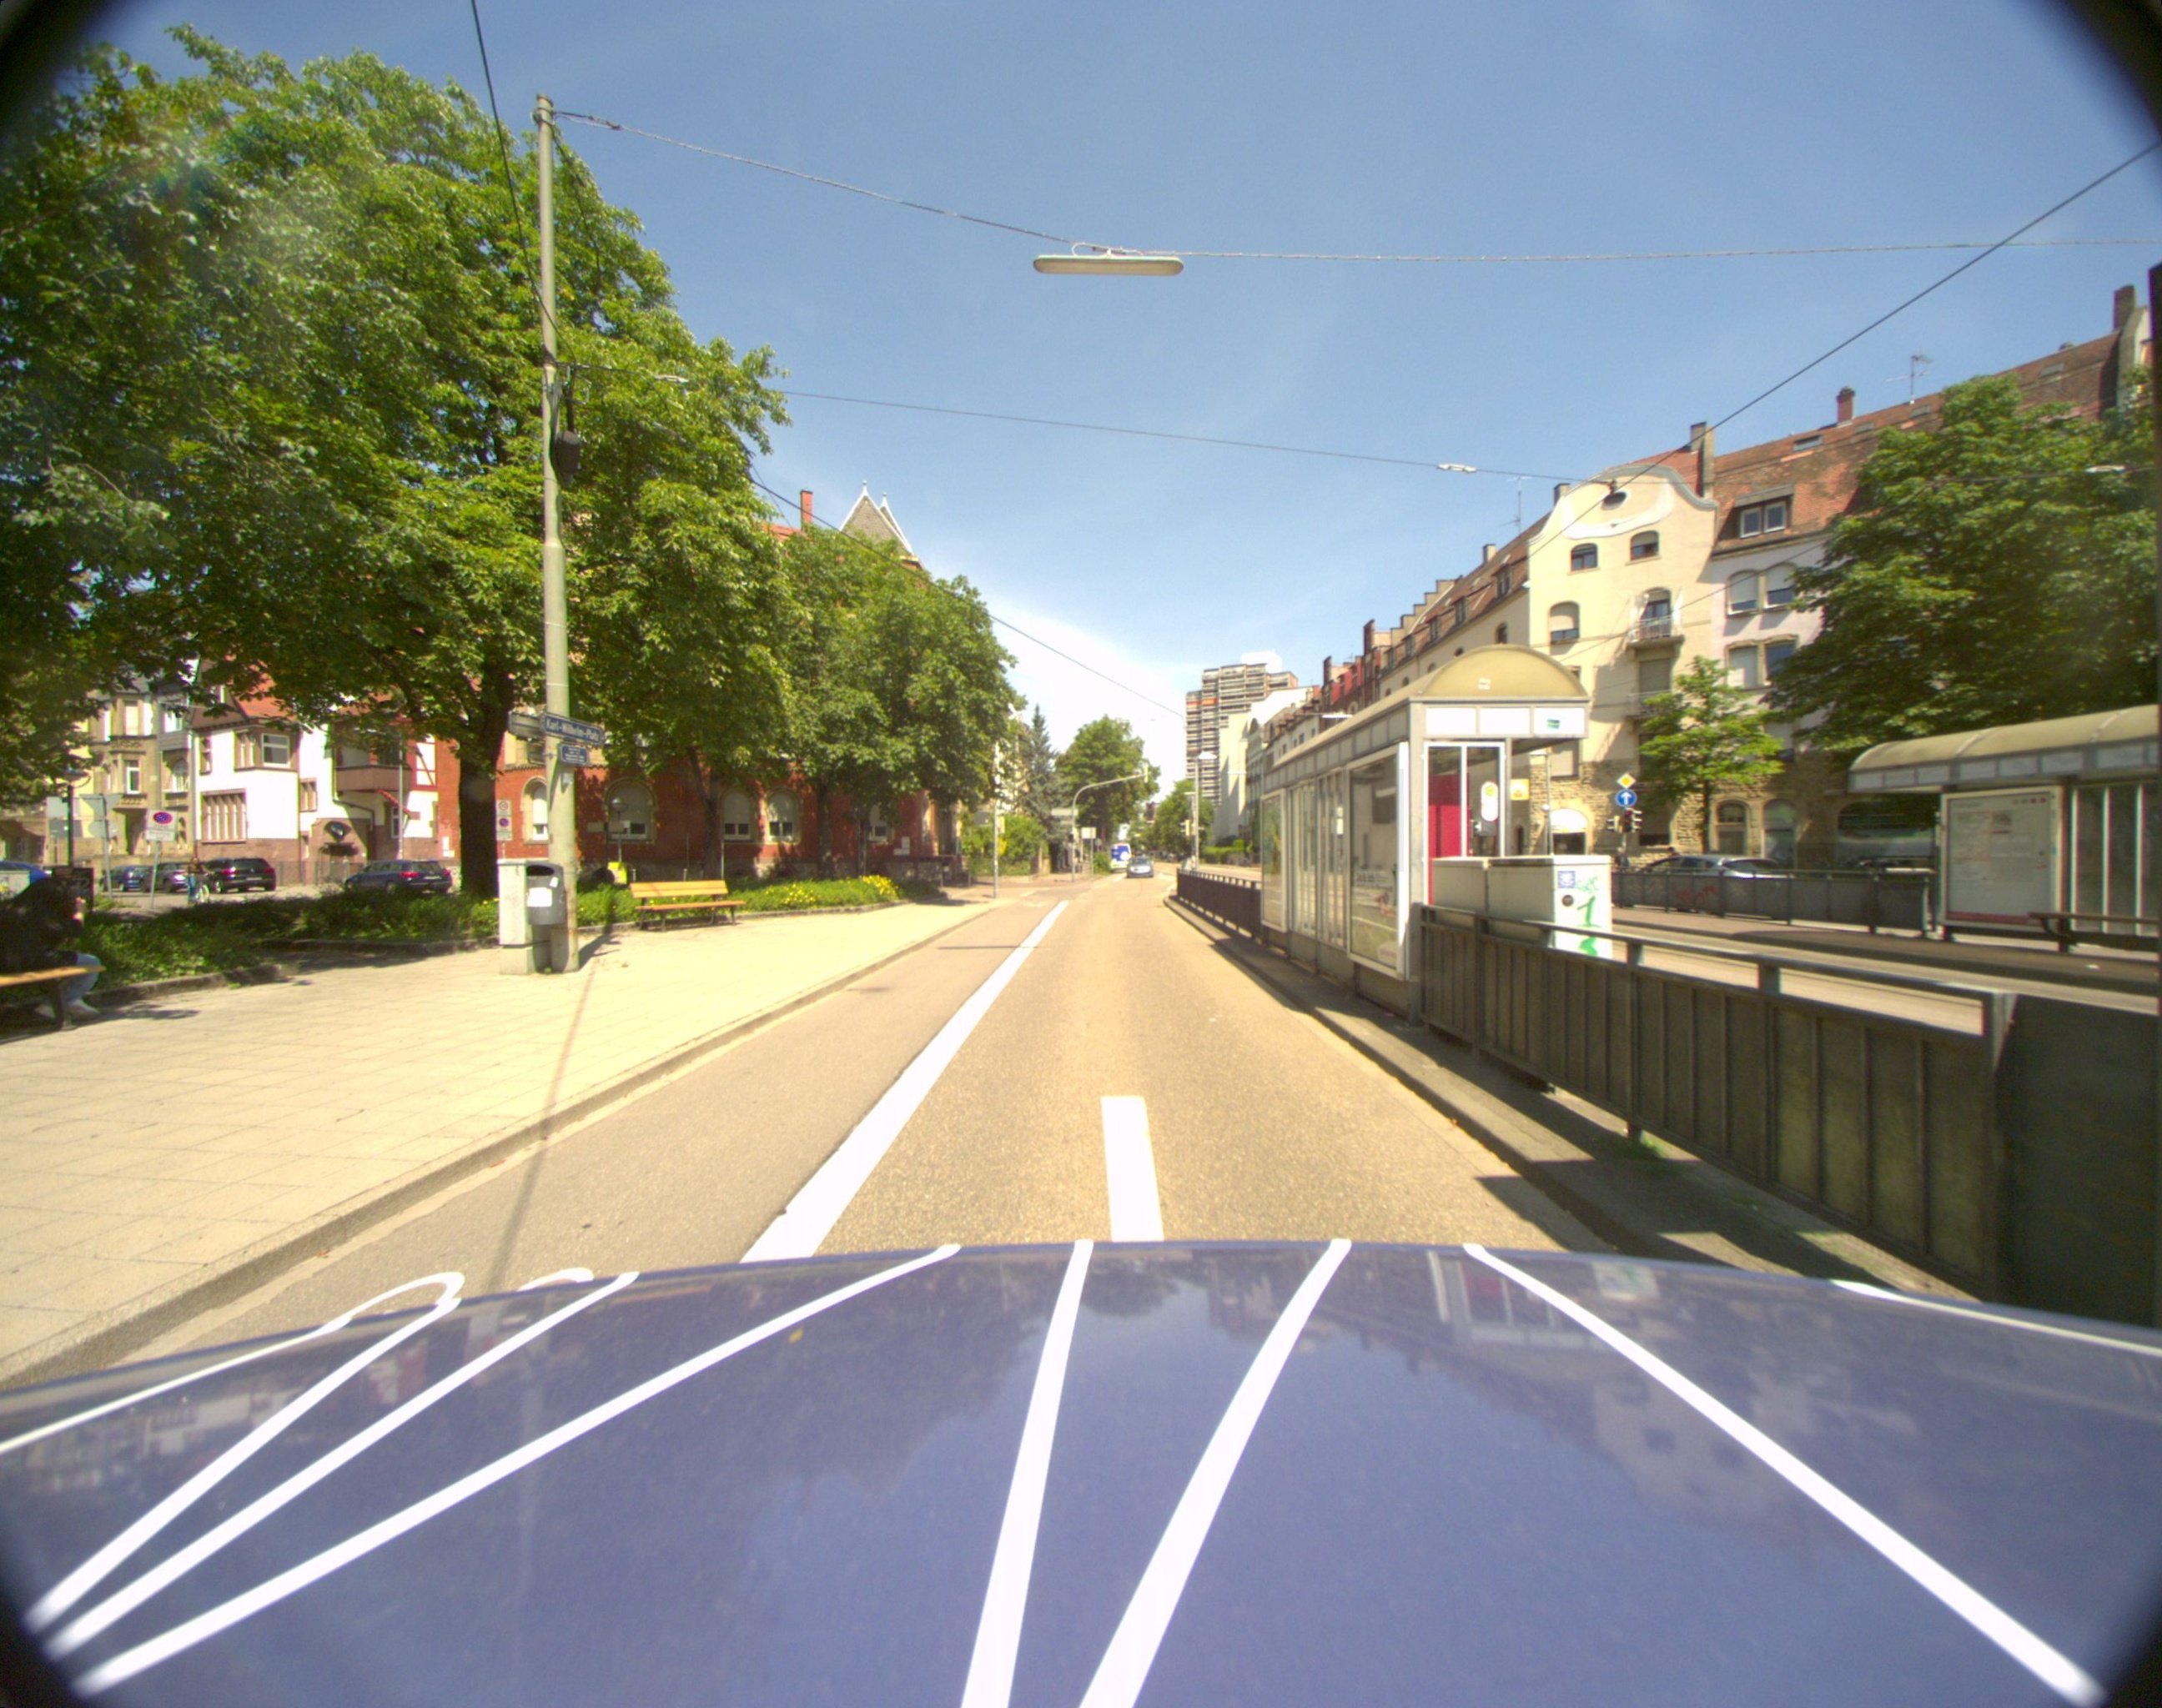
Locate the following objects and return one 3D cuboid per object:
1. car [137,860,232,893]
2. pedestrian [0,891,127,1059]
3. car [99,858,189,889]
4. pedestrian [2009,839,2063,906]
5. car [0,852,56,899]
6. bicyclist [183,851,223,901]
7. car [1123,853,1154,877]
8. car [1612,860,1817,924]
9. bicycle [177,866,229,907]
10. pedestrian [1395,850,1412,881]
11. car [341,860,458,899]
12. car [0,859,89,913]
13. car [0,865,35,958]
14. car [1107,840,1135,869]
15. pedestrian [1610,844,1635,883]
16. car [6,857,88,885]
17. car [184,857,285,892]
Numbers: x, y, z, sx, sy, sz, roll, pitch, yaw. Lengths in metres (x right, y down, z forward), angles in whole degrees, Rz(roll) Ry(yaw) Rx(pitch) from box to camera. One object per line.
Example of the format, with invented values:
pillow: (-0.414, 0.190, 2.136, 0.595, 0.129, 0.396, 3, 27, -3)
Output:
car: (-44.390, 1.079, 37.629, 4.235, 1.554, 1.706, 0, 1, 21)
pedestrian: (-7.777, 0.866, 5.599, 0.652, 1.143, 0.642, -1, 1, -14)
car: (-49.221, 1.010, 39.916, 4.235, 1.554, 1.706, 0, 1, 21)
pedestrian: (20.810, 0.391, 16.557, 0.537, 1.433, 0.520, 0, 1, -8)
car: (-37.314, 0.722, 24.793, 1.641, 1.554, 4.326, 0, 0, 22)
bicyclist: (-28.732, 0.715, 24.864, 0.861, 1.614, 0.641, 0, 1, 27)
car: (3.867, 0.699, 51.444, 1.737, 1.543, 4.423, 0, 0, 0)
car: (14.795, 0.816, 18.058, 1.697, 1.302, 3.848, 0, 0, 1)
bicycle: (-28.730, 1.037, 24.864, 1.926, 1.285, 0.641, 0, 1, 27)
pedestrian: (18.237, 0.634, 43.004, 0.808, 1.710, 0.764, 0, 1, 17)
car: (-27.183, 0.994, 30.292, 4.309, 1.444, 1.647, 0, 1, 21)
car: (-32.807, 0.965, 22.214, 1.641, 1.554, 4.326, 0, 0, 22)
car: (-18.737, 0.974, 11.052, 1.614, 1.554, 4.064, 0, 0, -6)
car: (3.516, -0.010, 68.395, 2.236, 2.478, 5.265, 0, 1, 0)
pedestrian: (20.080, 0.361, 28.205, 0.537, 1.433, 0.520, 0, 1, -7)
car: (-59.735, 0.959, 43.900, 4.235, 1.554, 1.706, 0, 1, 21)
car: (-39.775, 0.941, 35.708, 4.235, 1.554, 1.706, 0, 1, 21)
